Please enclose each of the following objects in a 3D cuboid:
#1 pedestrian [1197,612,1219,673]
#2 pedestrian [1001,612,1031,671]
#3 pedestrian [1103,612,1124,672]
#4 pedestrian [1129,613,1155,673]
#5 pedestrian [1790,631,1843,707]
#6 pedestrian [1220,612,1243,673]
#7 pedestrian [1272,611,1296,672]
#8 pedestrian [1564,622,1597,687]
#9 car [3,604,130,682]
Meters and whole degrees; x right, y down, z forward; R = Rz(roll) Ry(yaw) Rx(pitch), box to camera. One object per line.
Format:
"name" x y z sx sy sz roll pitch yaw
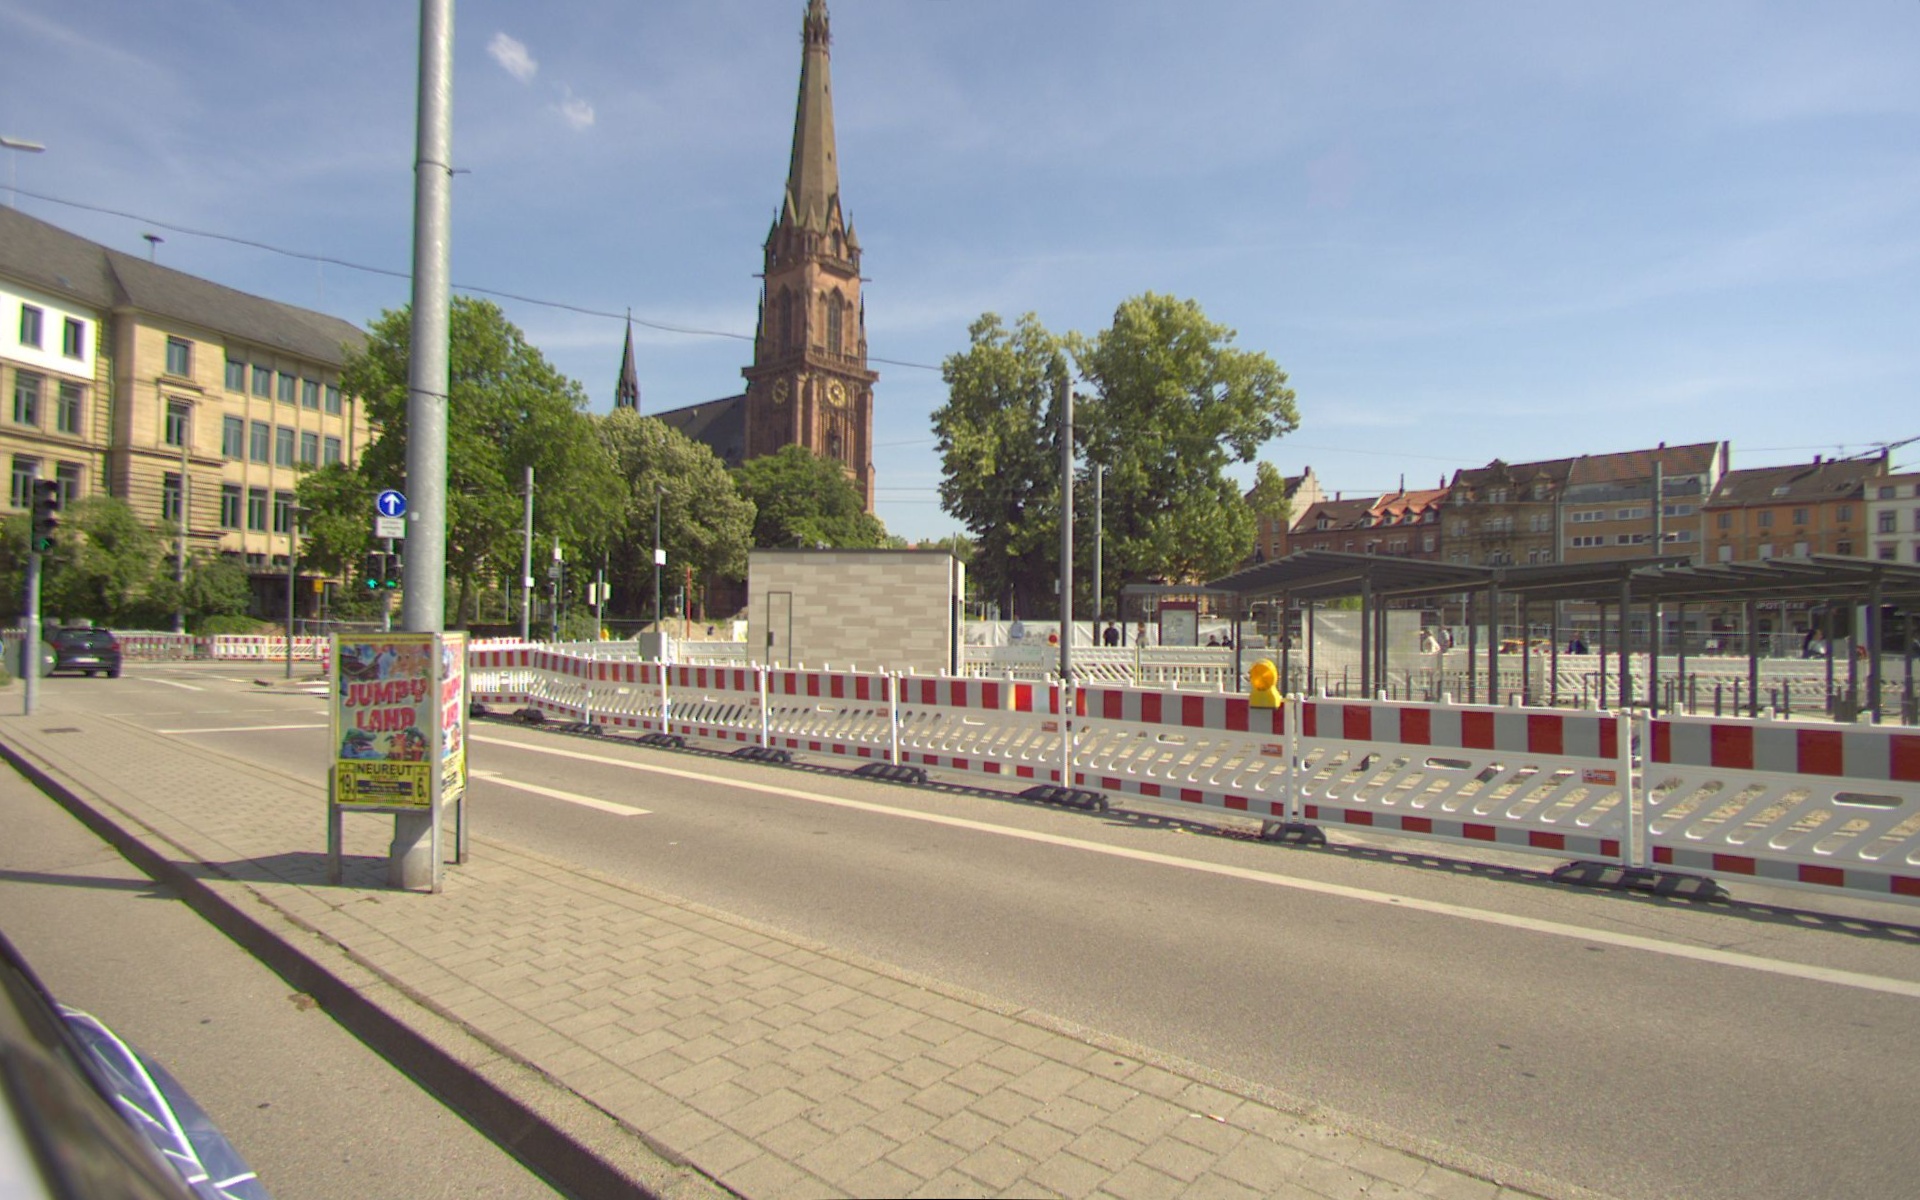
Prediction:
"pedestrian" 8.349 1.426 34.102 0.679 2.029 0.818 0 -2 11
"pedestrian" 1.941 1.444 35.128 0.686 2.029 0.809 -1 -3 43
"pedestrian" 5.272 1.425 34.723 0.678 2.029 0.819 0 -2 7
"pedestrian" 6.222 1.462 34.580 0.810 2.029 0.685 1 -2 6
"pedestrian" 18.258 1.465 21.574 0.607 1.594 0.573 1 -2 5
"pedestrian" 9.085 1.422 33.890 0.679 2.029 0.818 0 -2 11
"pedestrian" 11.025 1.408 34.499 0.679 2.029 0.818 0 -2 11
"pedestrian" 19.725 1.718 32.195 0.680 2.029 0.816 0 -2 16
"car" -25.057 1.194 28.351 3.996 2.029 1.974 -1 -3 39
